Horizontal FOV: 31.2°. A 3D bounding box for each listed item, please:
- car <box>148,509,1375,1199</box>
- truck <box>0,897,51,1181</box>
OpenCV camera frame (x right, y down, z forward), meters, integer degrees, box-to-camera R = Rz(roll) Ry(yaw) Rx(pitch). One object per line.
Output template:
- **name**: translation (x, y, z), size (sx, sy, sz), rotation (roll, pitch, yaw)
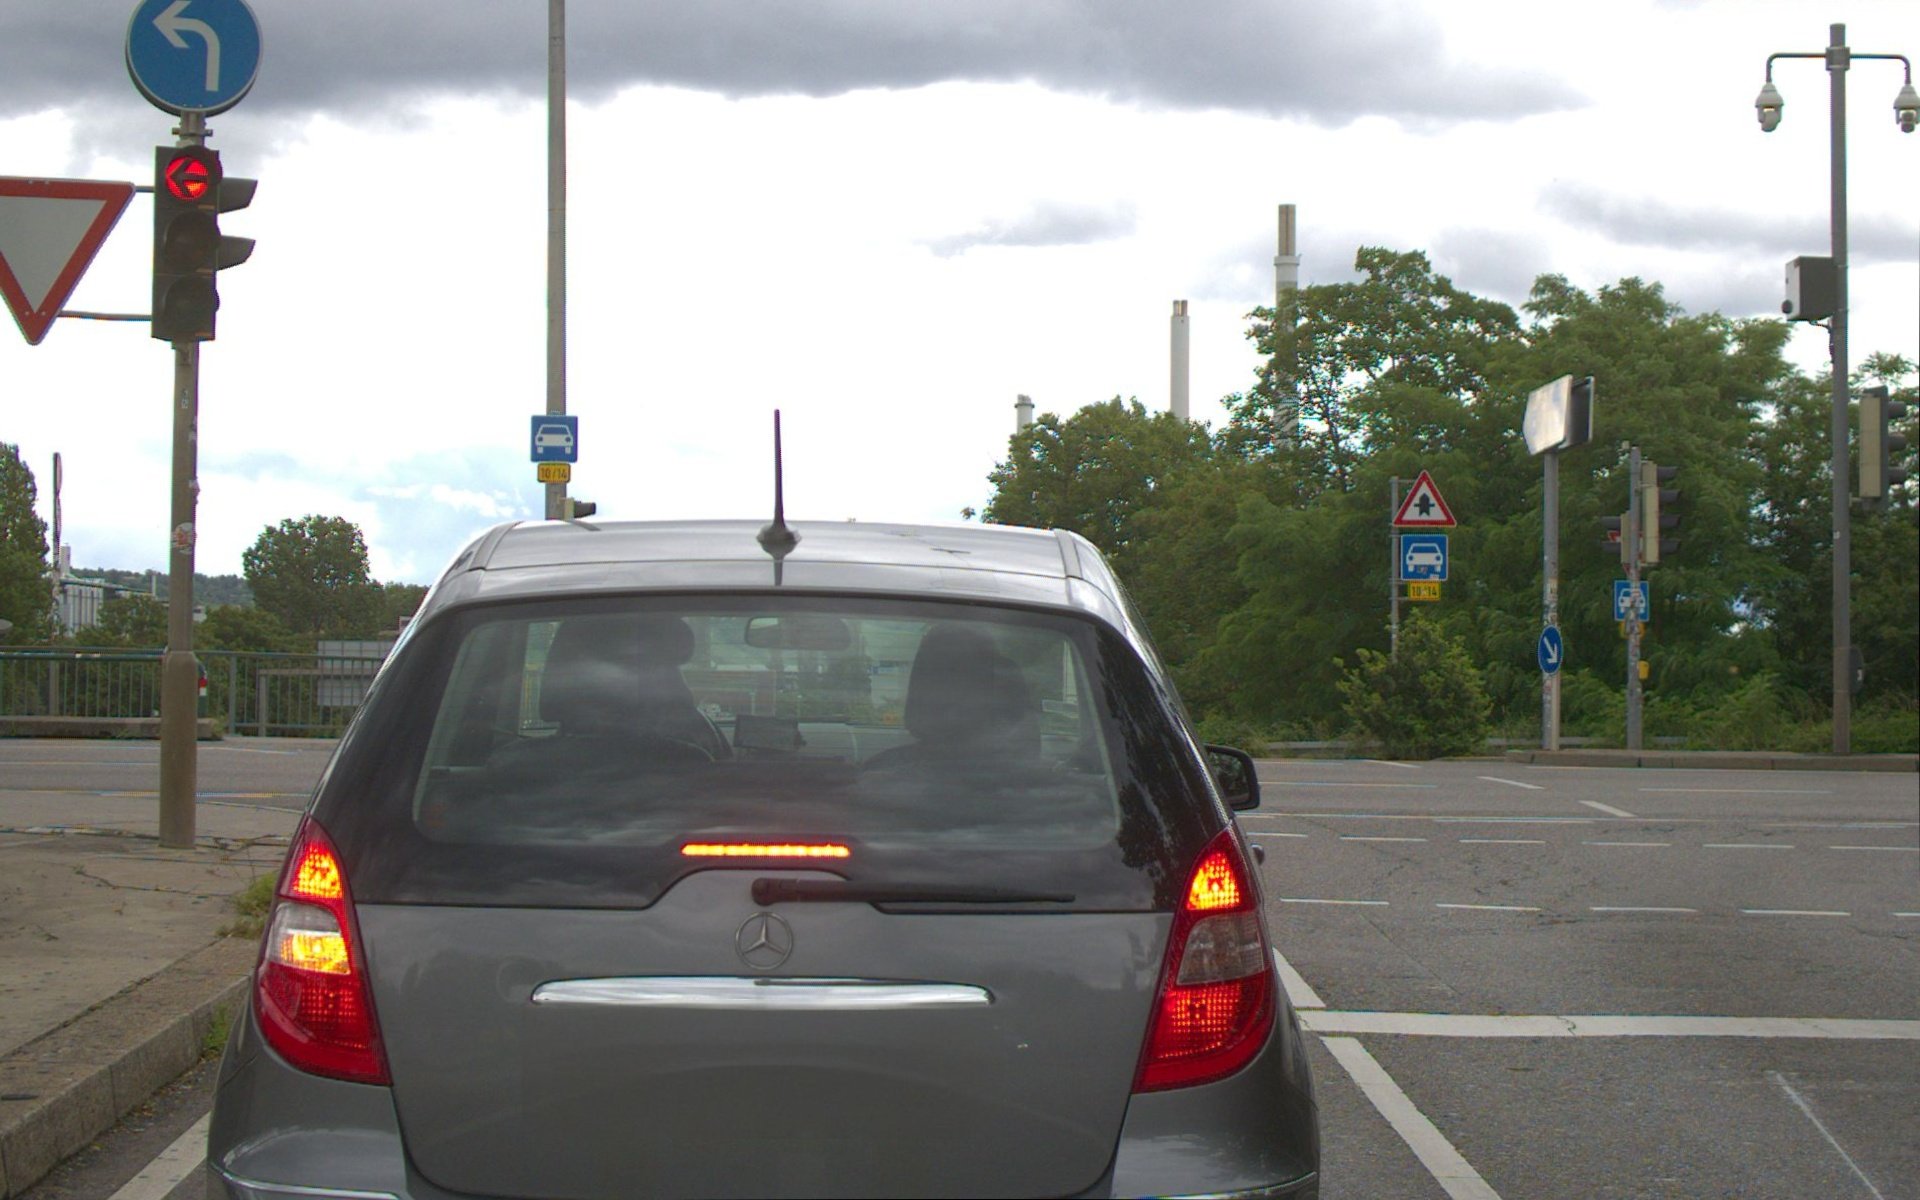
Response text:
- **car**: translation (-0.302, 0.634, 6.682), size (1.739, 1.538, 3.541), rotation (1, 1, 0)
- **truck**: translation (-13.906, 5.741, 42.055), size (2.882, 3.513, 9.871), rotation (-2, -1, 0)
